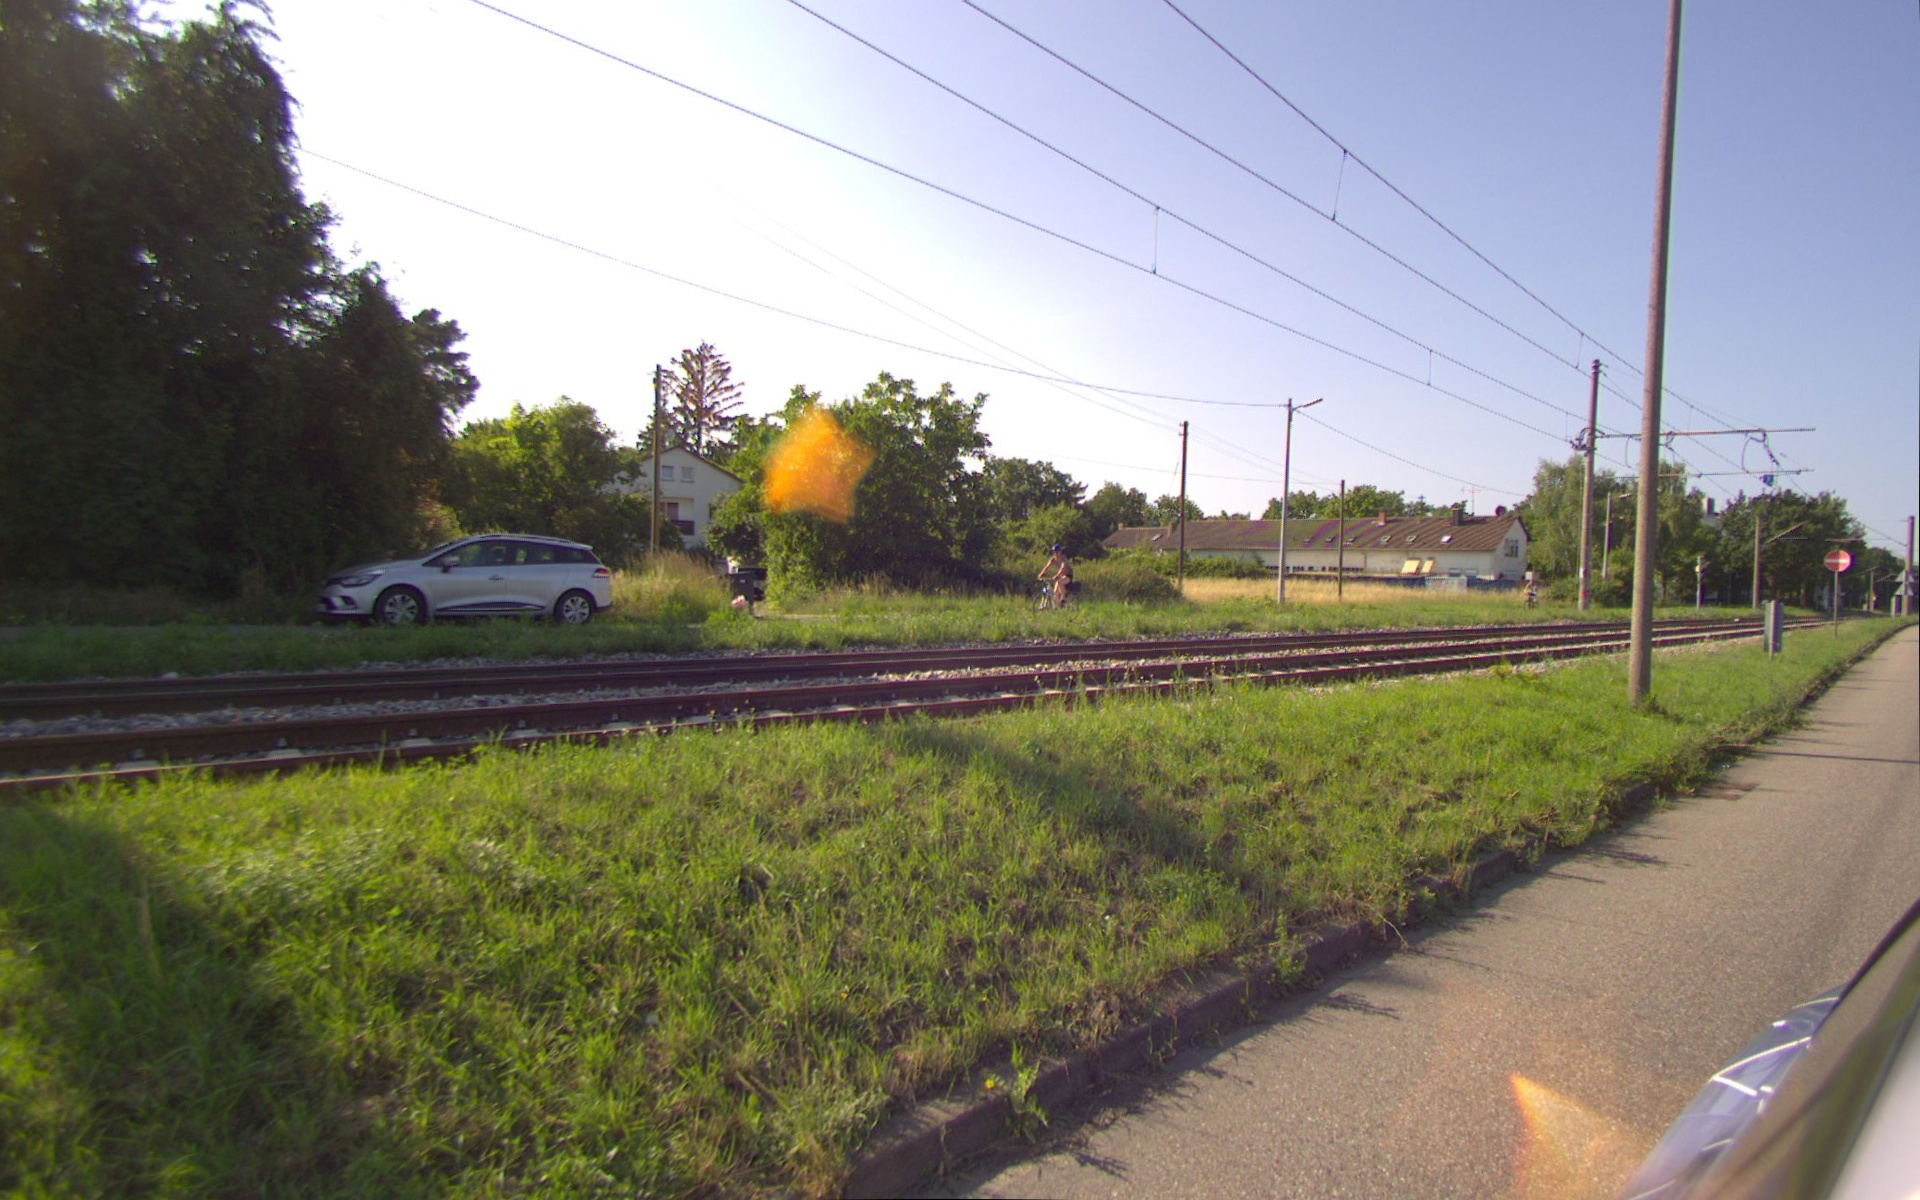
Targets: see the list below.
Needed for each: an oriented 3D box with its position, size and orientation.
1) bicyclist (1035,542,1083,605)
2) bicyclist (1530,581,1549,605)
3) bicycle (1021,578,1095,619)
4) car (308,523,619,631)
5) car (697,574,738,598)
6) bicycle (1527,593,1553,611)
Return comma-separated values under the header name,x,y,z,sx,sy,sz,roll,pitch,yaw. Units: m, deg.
name,x,y,z,sx,sy,sz,roll,pitch,yaw
bicyclist,2.335,-0.616,23.756,0.945,1.440,0.630,1,0,-41
bicyclist,30.505,-0.367,53.252,0.777,1.248,0.640,1,0,-41
bicycle,2.317,-0.033,23.750,1.812,0.921,0.644,1,0,-41
car,-7.605,-0.330,15.750,4.062,1.466,1.536,1,2,-44
car,-16.355,-0.933,68.009,1.958,1.538,4.007,1,0,-24
bicycle,30.539,0.129,53.283,1.782,0.921,0.644,1,0,-42
